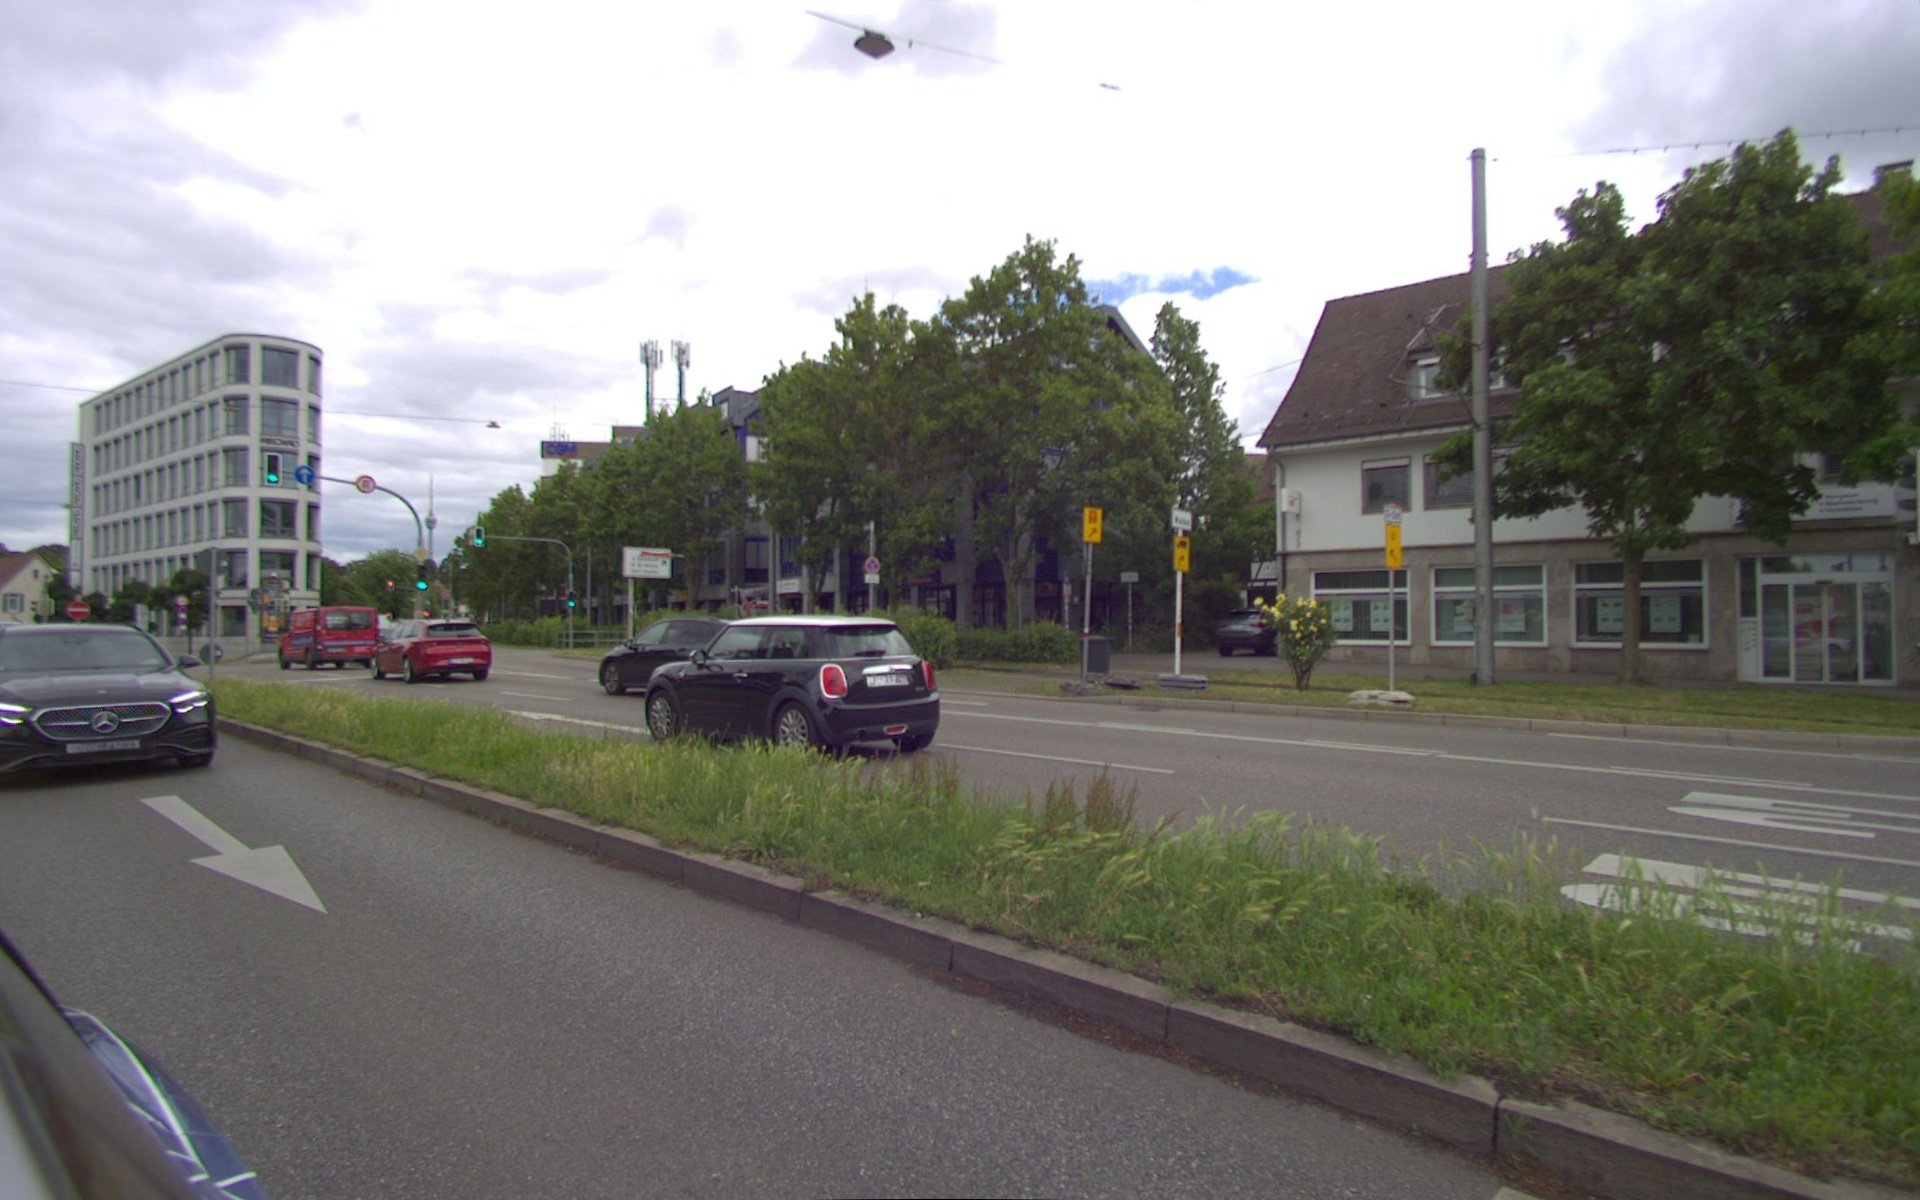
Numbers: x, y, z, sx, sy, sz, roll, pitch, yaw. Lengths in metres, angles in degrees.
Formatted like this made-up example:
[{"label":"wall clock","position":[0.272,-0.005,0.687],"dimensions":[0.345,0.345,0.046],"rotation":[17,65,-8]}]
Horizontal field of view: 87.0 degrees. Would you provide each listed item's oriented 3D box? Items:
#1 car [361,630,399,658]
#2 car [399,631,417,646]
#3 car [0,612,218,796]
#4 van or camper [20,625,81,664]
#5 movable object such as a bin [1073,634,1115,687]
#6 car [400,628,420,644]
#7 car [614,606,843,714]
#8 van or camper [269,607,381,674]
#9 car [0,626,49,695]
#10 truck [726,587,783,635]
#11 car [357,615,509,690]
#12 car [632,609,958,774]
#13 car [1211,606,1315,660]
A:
[{"label":"car","position":[-34.098,2.563,59.538],"dimensions":[1.751,1.474,4.454],"rotation":[-3,0,-28]},{"label":"car","position":[-60.070,4.131,110.135],"dimensions":[1.689,1.474,4.454],"rotation":[-3,0,-28]},{"label":"car","position":[-9.341,0.954,10.512],"dimensions":[4.335,1.541,1.853],"rotation":[-2,-2,43]},{"label":"van or camper","position":[-48.587,2.356,54.017],"dimensions":[5.247,1.952,1.906],"rotation":[-2,-1,42]},{"label":"movable object such as a bin","position":[2.759,1.243,20.870],"dimensions":[0.595,1.050,0.687],"rotation":[-2,-2,36]},{"label":"car","position":[-56.285,3.702,103.594],"dimensions":[1.689,1.474,4.454],"rotation":[-3,0,-28]},{"label":"car","position":[-4.060,0.939,17.304],"dimensions":[4.330,1.602,1.706],"rotation":[-1,-1,43]},{"label":"van or camper","position":[-20.868,1.286,33.154],"dimensions":[5.198,2.029,1.971],"rotation":[-2,-2,44]},{"label":"car","position":[-23.295,1.456,23.925],"dimensions":[3.992,1.542,1.856],"rotation":[-3,-3,36]},{"label":"truck","position":[-11.586,0.639,56.875],"dimensions":[1.966,2.405,4.012],"rotation":[-3,-2,-28]},{"label":"car","position":[-12.797,1.196,24.430],"dimensions":[1.970,1.602,4.838],"rotation":[0,-1,-44]},{"label":"car","position":[-1.874,0.834,10.800],"dimensions":[3.654,1.457,1.596],"rotation":[-1,-1,44]},{"label":"car","position":[9.774,1.024,32.552],"dimensions":[1.721,1.623,3.645],"rotation":[-2,-2,44]}]
